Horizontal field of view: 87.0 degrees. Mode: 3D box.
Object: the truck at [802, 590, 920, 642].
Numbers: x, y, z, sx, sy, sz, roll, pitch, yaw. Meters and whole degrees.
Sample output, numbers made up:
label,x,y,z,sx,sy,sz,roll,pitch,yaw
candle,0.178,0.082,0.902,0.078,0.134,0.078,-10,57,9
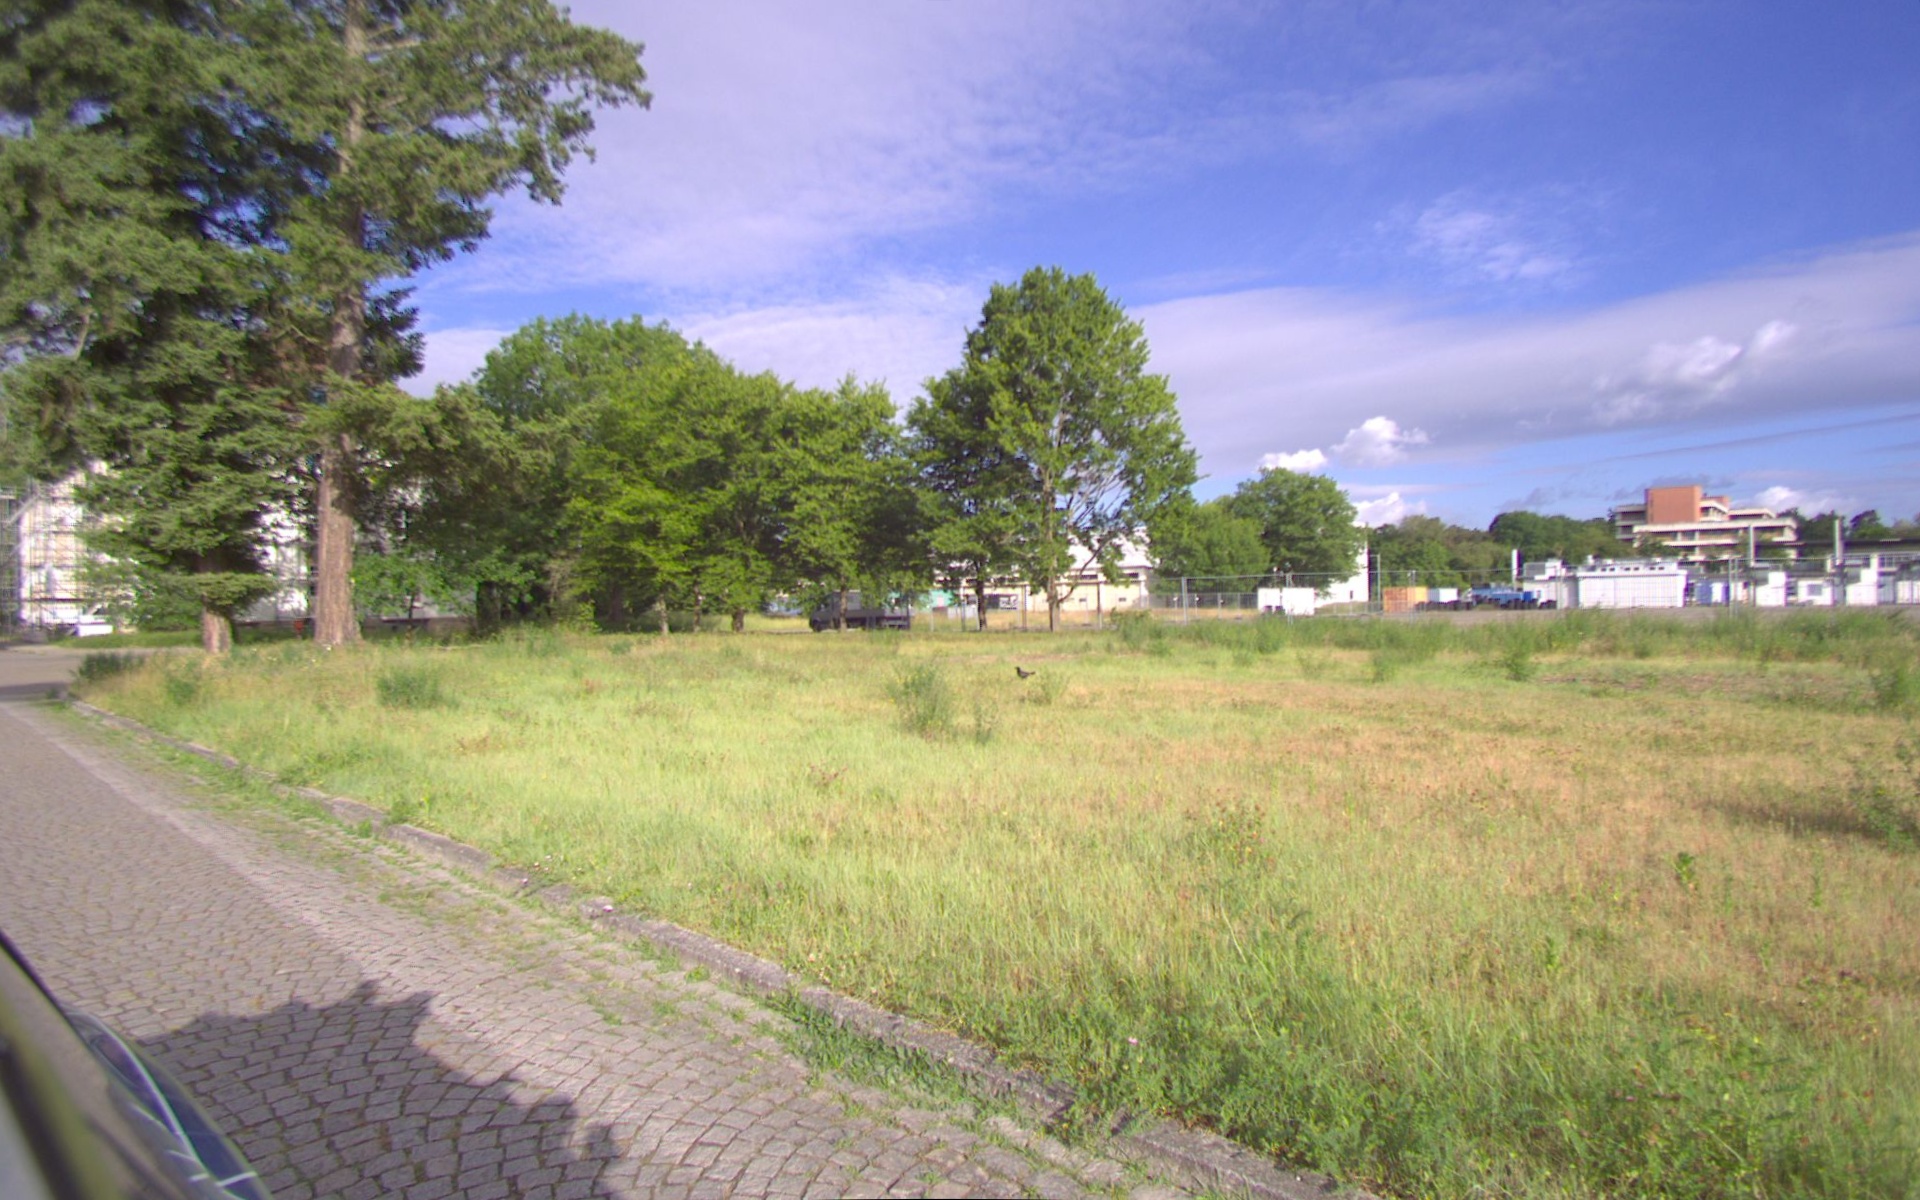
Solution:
label,x,y,z,sx,sy,sz,roll,pitch,yaw
truck,-5.392,0.889,53.960,2.384,2.606,6.962,-1,-1,-45
